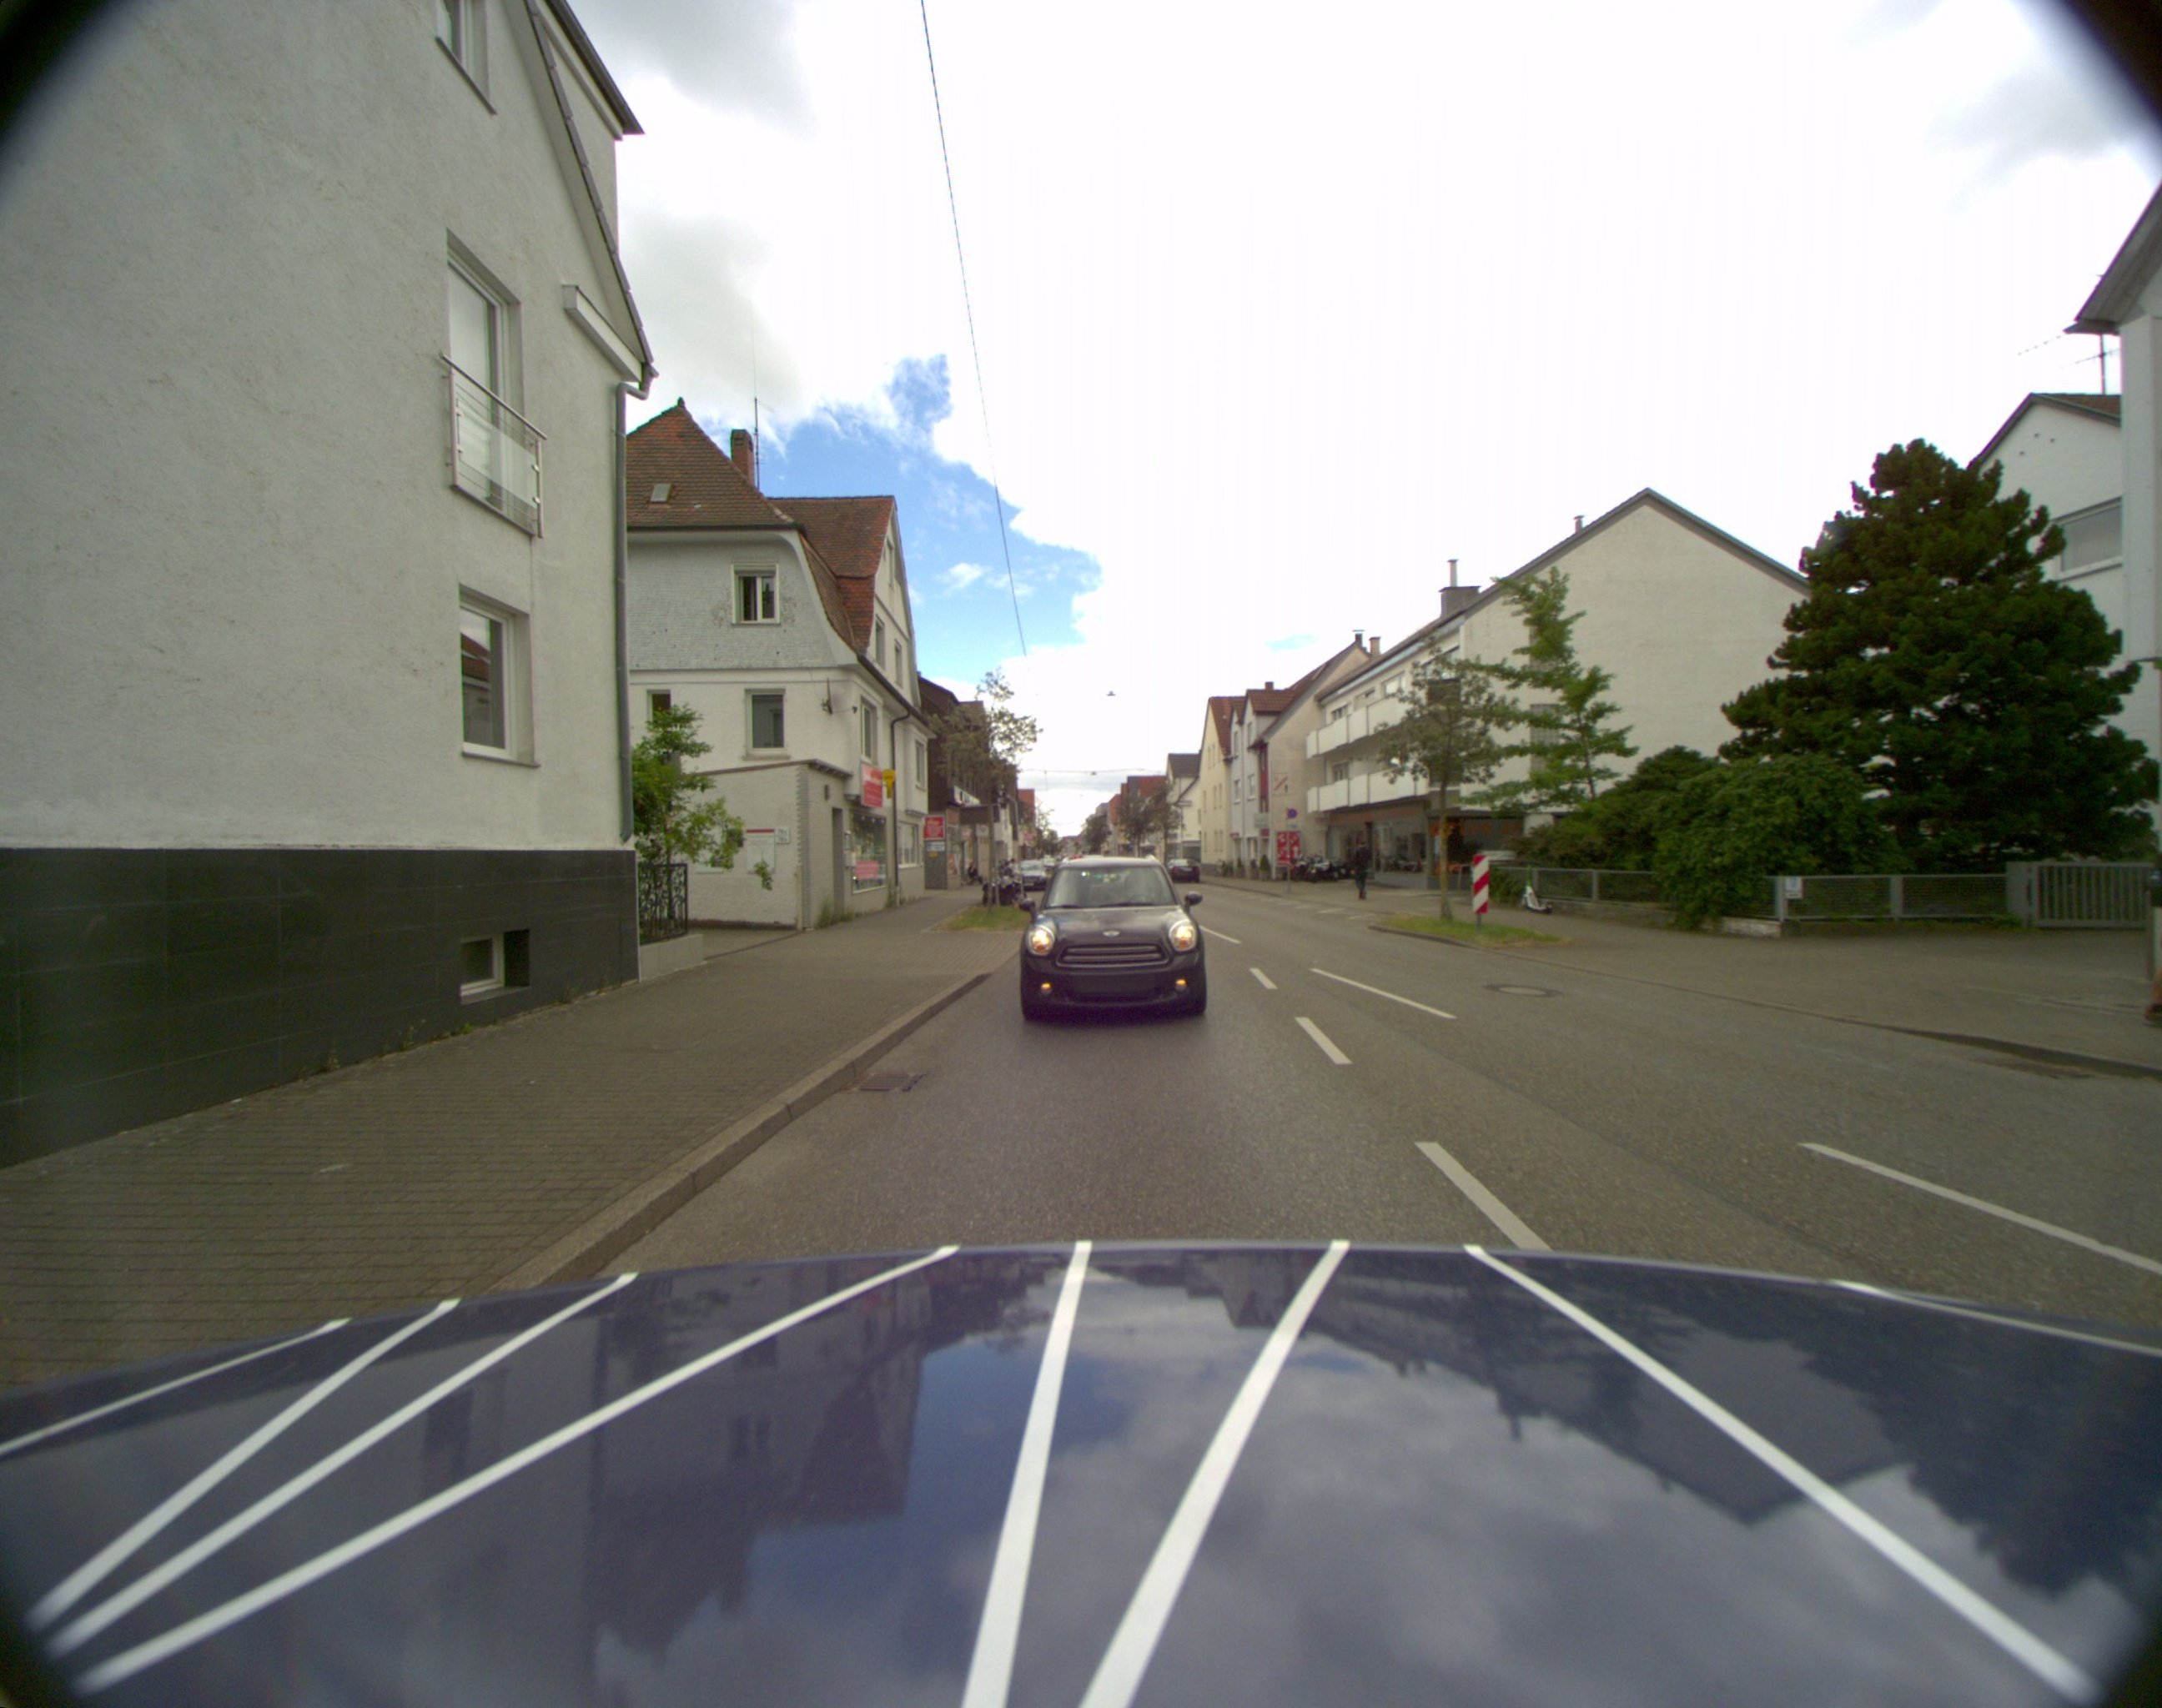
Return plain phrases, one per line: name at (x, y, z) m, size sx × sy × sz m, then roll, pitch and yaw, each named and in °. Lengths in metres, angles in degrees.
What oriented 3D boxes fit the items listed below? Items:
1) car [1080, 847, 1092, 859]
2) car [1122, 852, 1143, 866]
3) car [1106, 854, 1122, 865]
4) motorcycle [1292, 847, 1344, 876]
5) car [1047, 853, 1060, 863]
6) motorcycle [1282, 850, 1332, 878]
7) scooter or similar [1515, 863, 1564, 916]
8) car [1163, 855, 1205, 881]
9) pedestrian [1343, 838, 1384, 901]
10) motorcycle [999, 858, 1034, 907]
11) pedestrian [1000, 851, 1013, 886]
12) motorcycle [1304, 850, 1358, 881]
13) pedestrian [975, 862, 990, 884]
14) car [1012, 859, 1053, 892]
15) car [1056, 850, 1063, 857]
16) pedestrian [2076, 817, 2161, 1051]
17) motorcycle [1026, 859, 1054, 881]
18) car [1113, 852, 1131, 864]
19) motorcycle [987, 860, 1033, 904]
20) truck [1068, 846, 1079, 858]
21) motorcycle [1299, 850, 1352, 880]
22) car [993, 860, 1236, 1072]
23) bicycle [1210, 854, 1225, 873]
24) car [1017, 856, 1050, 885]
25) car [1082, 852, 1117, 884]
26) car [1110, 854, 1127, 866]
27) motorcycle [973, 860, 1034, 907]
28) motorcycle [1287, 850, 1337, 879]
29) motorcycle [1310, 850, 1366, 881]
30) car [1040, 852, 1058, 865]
car at (0.790, -0.212, 132.117) m, size 1.855 × 1.932 × 4.489 m, roll 0°, pitch 0°, yaw -3°
car at (5.434, 0.542, 80.829) m, size 1.716 × 1.389 × 3.899 m, roll -2°, pitch 0°, yaw -3°
car at (4.453, 0.740, 102.177) m, size 1.716 × 1.389 × 3.899 m, roll -2°, pitch 0°, yaw -3°
motorcycle at (11.486, 0.360, 36.797) m, size 2.231 × 1.258 × 0.699 m, roll -4°, pitch 1°, yaw -2°
car at (-3.999, 0.518, 109.818) m, size 1.795 × 1.397 × 3.948 m, roll 0°, pitch 0°, yaw -1°
motorcycle at (11.377, 0.516, 38.286) m, size 2.231 × 1.258 × 0.613 m, roll -4°, pitch 1°, yaw -2°
scooter or similar at (10.164, 0.776, 16.859) m, size 0.340 × 1.105 × 1.180 m, roll -2°, pitch 1°, yaw 0°
car at (6.100, 0.793, 45.465) m, size 1.792 × 1.409 × 4.340 m, roll -1°, pitch 0°, yaw -2°
pedestrian at (8.775, 0.472, 23.660) m, size 0.753 × 1.838 × 1.019 m, roll -5°, pitch 1°, yaw 0°
motorcycle at (-2.162, 0.940, 25.879) m, size 0.672 × 1.516 × 2.598 m, roll -2°, pitch 1°, yaw 6°
pedestrian at (-3.739, 0.693, 37.998) m, size 0.644 × 1.730 × 0.742 m, roll 0°, pitch 1°, yaw -6°
motorcycle at (11.565, 0.512, 35.160) m, size 2.231 × 1.258 × 0.613 m, roll -4°, pitch 1°, yaw -2°
pedestrian at (-5.325, 1.020, 41.140) m, size 0.742 × 1.204 × 0.644 m, roll 0°, pitch 1°, yaw -1°
car at (-2.331, 0.990, 37.428) m, size 1.830 × 1.400 × 4.564 m, roll -2°, pitch 0°, yaw -2°
car at (-6.527, -0.084, 235.114) m, size 2.059 × 2.002 × 4.186 m, roll -2°, pitch 1°, yaw -2°
pedestrian at (8.411, 0.590, 5.600) m, size 0.753 × 1.733 × 1.019 m, roll -4°, pitch 1°, yaw 0°
motorcycle at (-2.501, 0.977, 46.300) m, size 1.588 × 1.284 × 0.500 m, roll -2°, pitch 1°, yaw -30°
car at (4.884, 0.442, 91.545) m, size 1.716 × 1.389 × 3.899 m, roll -2°, pitch 0°, yaw -3°
motorcycle at (-2.526, 0.969, 27.264) m, size 0.648 × 1.432 × 2.472 m, roll -2°, pitch 1°, yaw 18°
truck at (-2.114, -0.583, 213.635) m, size 2.800 × 3.020 × 8.249 m, roll -2°, pitch 0°, yaw -1°
motorcycle at (11.554, 0.526, 35.939) m, size 2.231 × 1.258 × 0.613 m, roll -4°, pitch 1°, yaw -2°
car at (0.166, 0.887, 8.303) m, size 1.855 × 1.527 × 4.735 m, roll -2°, pitch 0°, yaw -3°
bicycle at (8.975, 0.634, 49.890) m, size 0.515 × 1.189 × 2.023 m, roll -2°, pitch 1°, yaw -2°
car at (-2.638, 0.903, 42.973) m, size 1.645 × 1.433 × 3.901 m, roll -2°, pitch 0°, yaw -2°
car at (1.019, 0.766, 43.546) m, size 1.855 × 1.615 × 4.736 m, roll -2°, pitch 0°, yaw 0°
car at (4.708, 0.770, 96.537) m, size 1.716 × 1.389 × 3.899 m, roll -2°, pitch 0°, yaw -3°
motorcycle at (-2.422, 0.901, 23.594) m, size 0.777 × 1.373 × 2.237 m, roll -3°, pitch 1°, yaw -38°
motorcycle at (11.427, 0.520, 37.558) m, size 2.231 × 1.258 × 0.613 m, roll -4°, pitch 1°, yaw -2°
motorcycle at (11.604, 0.516, 34.314) m, size 2.231 × 1.258 × 0.613 m, roll -4°, pitch 1°, yaw -2°
car at (-3.340, 0.448, 79.580) m, size 1.795 × 1.356 × 3.948 m, roll 0°, pitch 0°, yaw -1°
